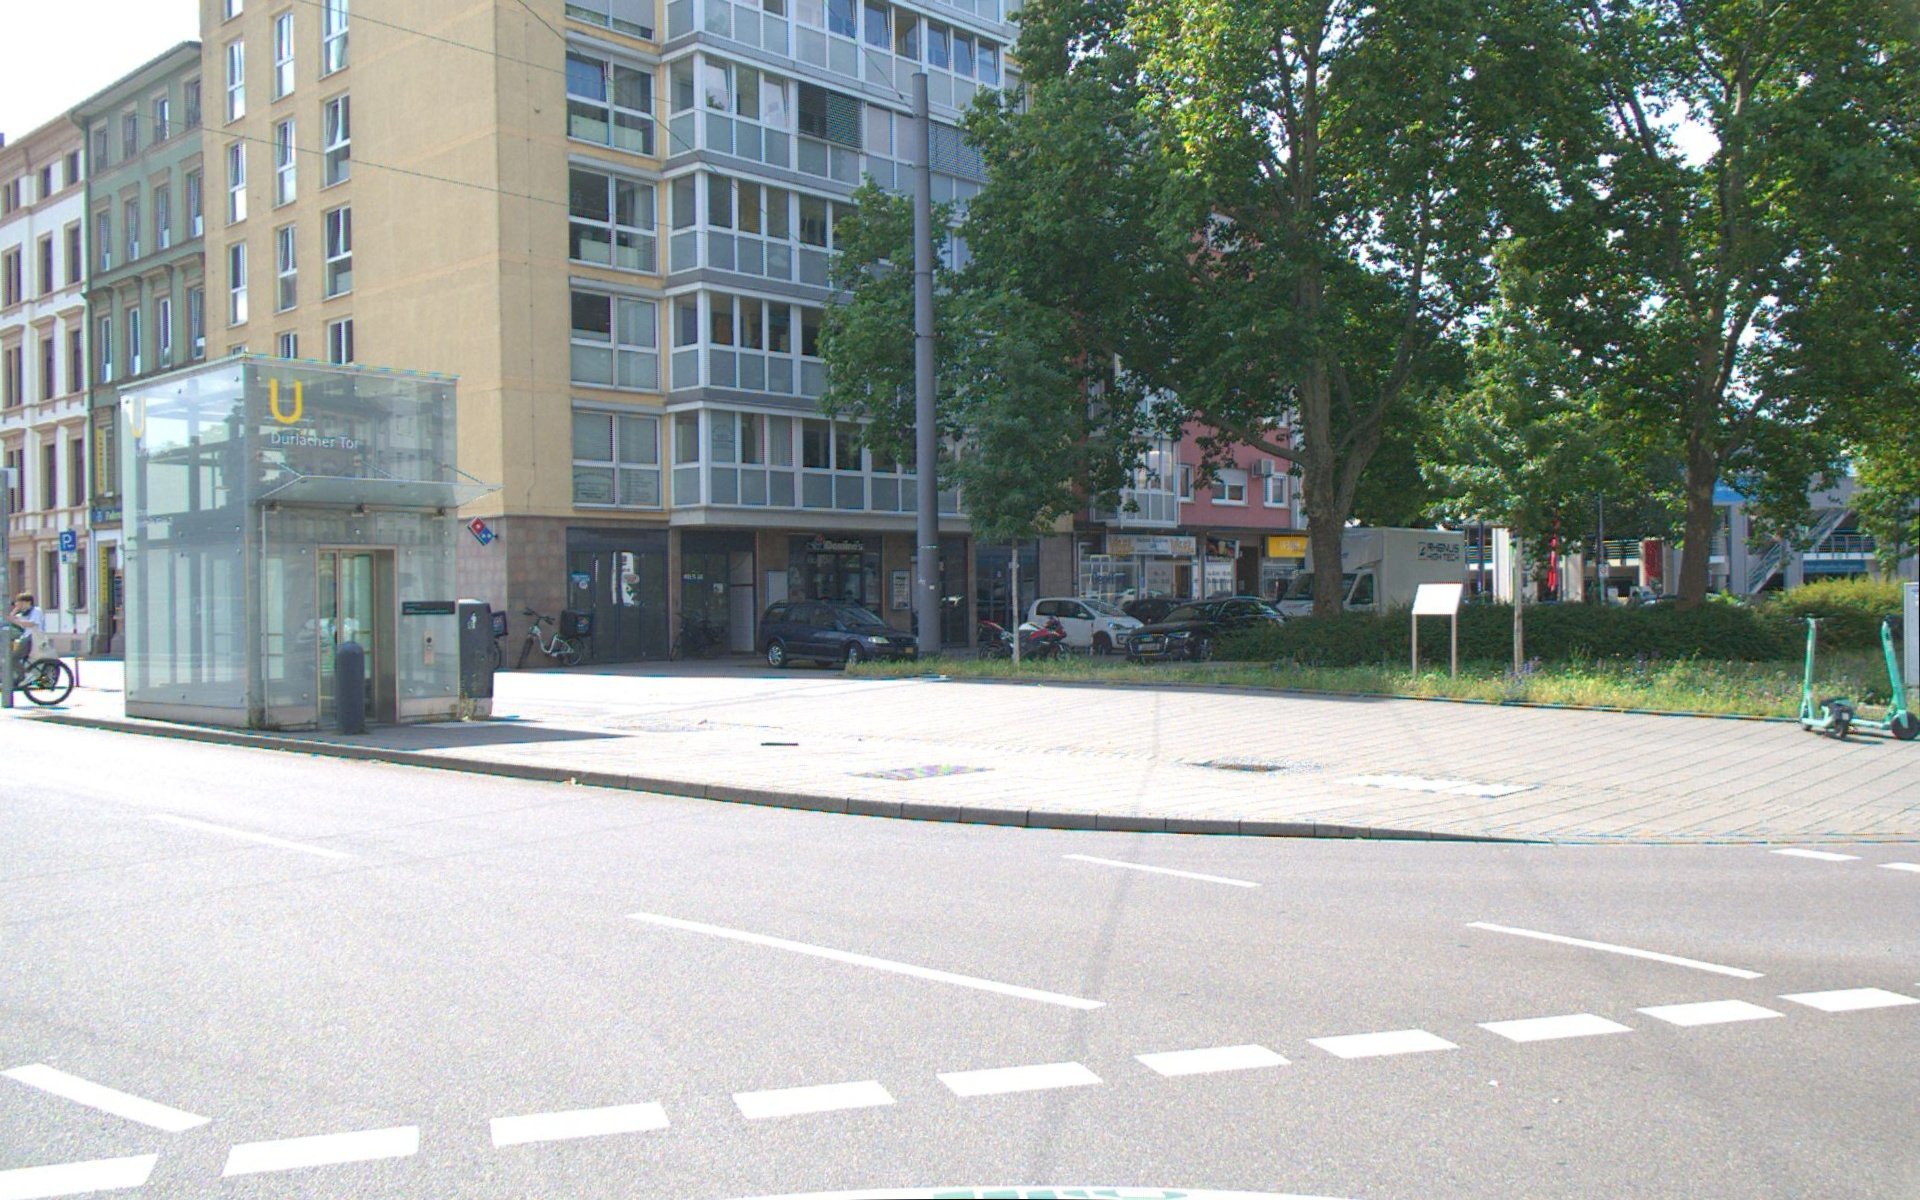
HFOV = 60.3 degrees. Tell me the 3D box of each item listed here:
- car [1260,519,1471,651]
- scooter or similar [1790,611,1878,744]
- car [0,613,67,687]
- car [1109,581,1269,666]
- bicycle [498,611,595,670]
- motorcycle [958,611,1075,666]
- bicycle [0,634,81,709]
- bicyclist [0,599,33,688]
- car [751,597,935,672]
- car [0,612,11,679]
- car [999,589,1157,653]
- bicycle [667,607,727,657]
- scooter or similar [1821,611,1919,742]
[{"bbox_3d":[10.450,-0.398,42.131,1.965,3.096,7.202,0,0,43],"label":"car"},{"bbox_3d":[8.555,0.739,16.218,0.372,1.217,1.066,1,1,6],"label":"scooter or similar"},{"bbox_3d":[-19.922,1.012,33.430,1.736,1.479,3.497,-1,-1,2],"label":"car"},{"bbox_3d":[5.174,0.481,37.017,1.959,1.735,3.987,0,1,35],"label":"car"},{"bbox_3d":[-9.089,0.880,36.458,0.469,1.223,2.183,2,2,42],"label":"bicycle"},{"bbox_3d":[1.099,0.742,32.115,2.239,1.048,0.975,0,-1,2],"label":"motorcycle"},{"bbox_3d":[-14.866,1.110,25.698,2.063,1.125,0.541,0,1,-21],"label":"bicycle"},{"bbox_3d":[-14.869,0.667,25.680,0.770,1.359,0.392,0,1,-22],"label":"bicyclist"},{"bbox_3d":[-2.630,0.717,36.552,4.023,1.541,1.798,0,1,42],"label":"car"},{"bbox_3d":[-22.354,1.002,34.841,1.892,1.486,4.602,0,0,3],"label":"car"},{"bbox_3d":[3.151,0.522,44.722,4.023,1.540,1.798,2,2,42],"label":"car"},{"bbox_3d":[-6.287,0.754,39.555,1.337,1.149,0.584,-1,2,-44],"label":"bicycle"},{"bbox_3d":[9.053,0.743,16.420,0.373,1.217,1.064,1,1,-4],"label":"scooter or similar"}]
